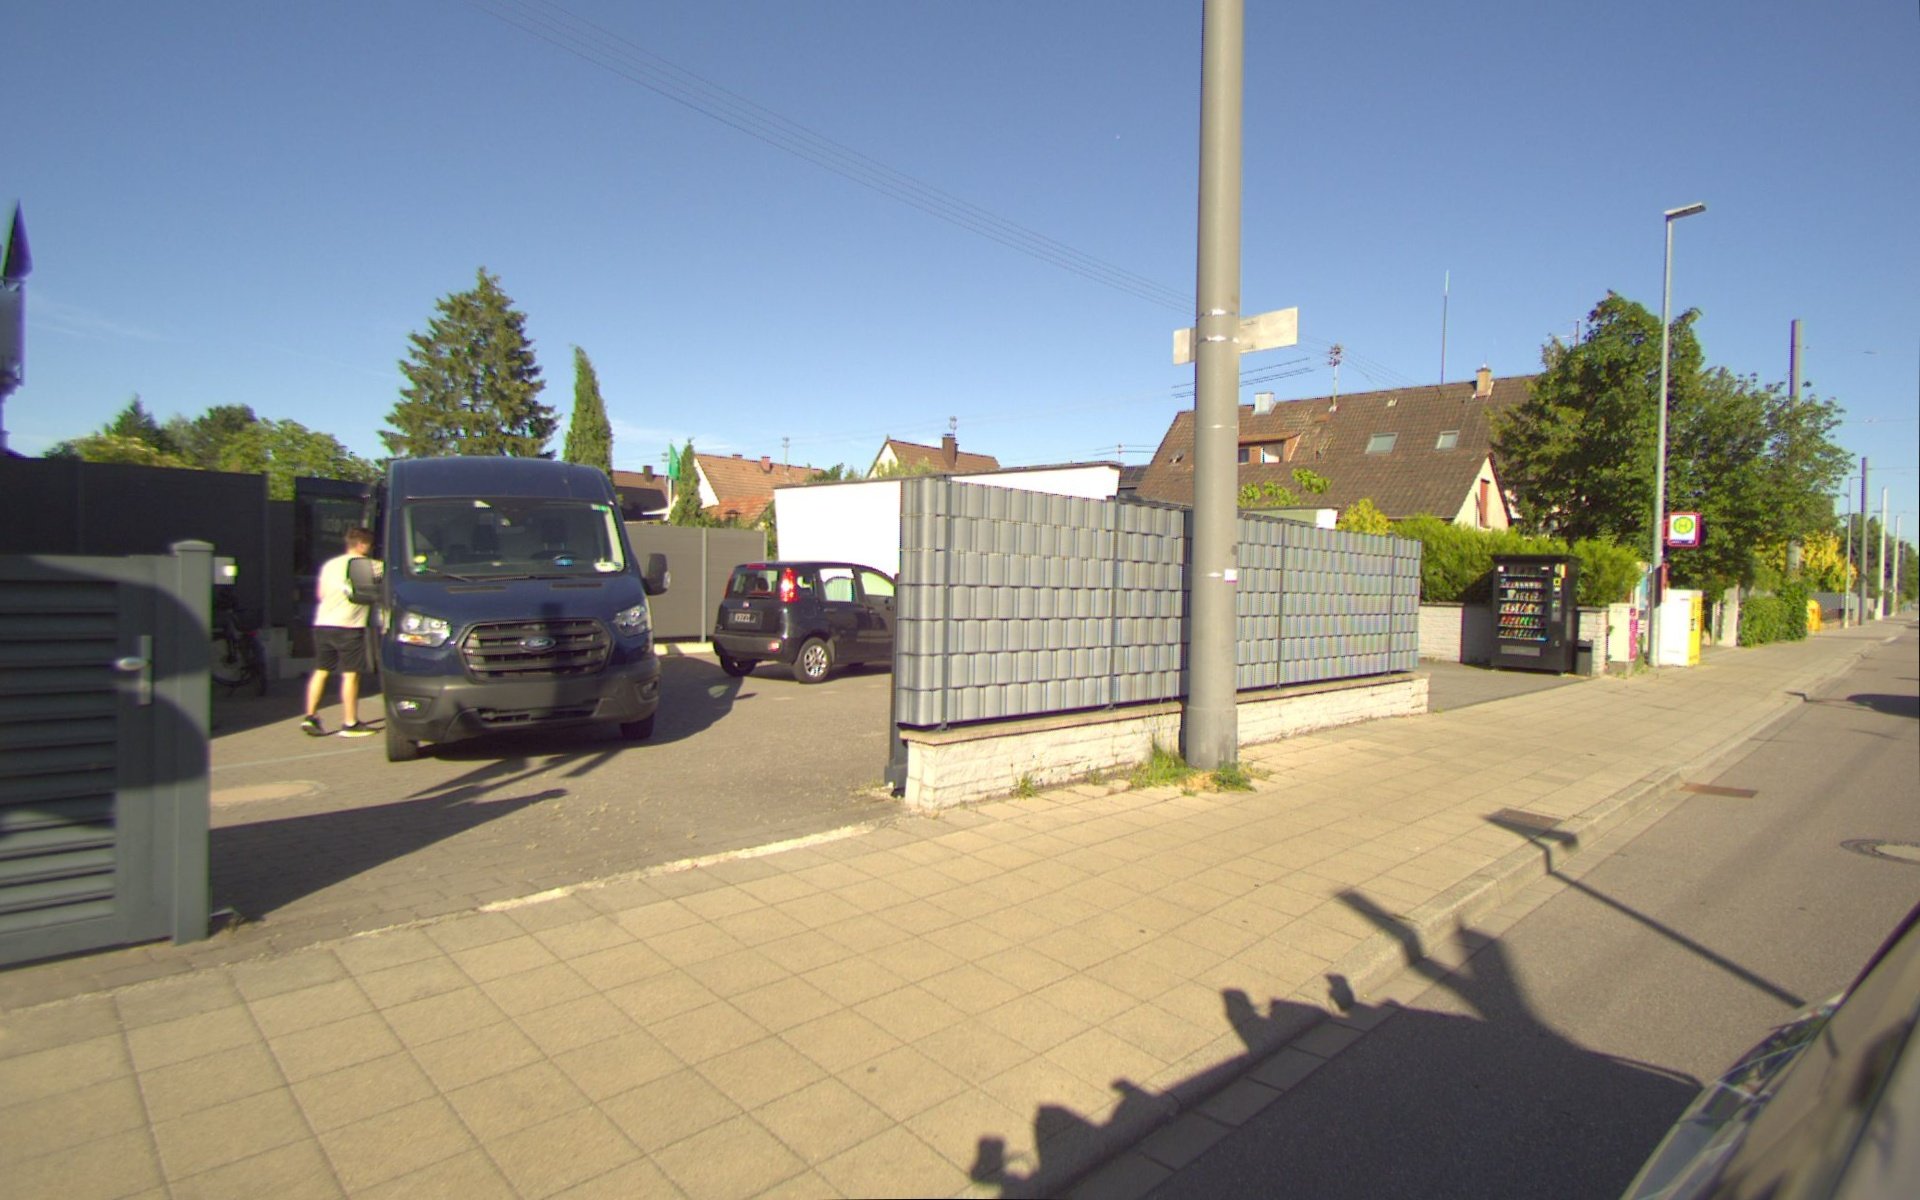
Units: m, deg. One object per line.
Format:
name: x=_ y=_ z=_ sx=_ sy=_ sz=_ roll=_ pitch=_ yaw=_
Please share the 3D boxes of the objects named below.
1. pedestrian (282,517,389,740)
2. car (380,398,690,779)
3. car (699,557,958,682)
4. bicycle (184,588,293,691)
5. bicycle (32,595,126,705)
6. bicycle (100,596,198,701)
pedestrian: x=-5.409 y=0.224 z=8.801 sx=0.662 sy=1.838 sz=0.555 roll=-3 pitch=1 yaw=-27
car: x=-4.111 y=-0.159 z=9.196 sx=1.960 sy=2.461 sz=4.998 roll=-1 pitch=2 yaw=-30
car: x=-1.682 y=0.186 z=13.802 sx=1.552 sy=1.479 sz=3.443 roll=1 pitch=1 yaw=37
bicycle: x=-8.349 y=0.421 z=11.689 sx=1.806 sy=1.110 sz=0.536 roll=0 pitch=0 yaw=38
bicycle: x=-9.265 y=0.489 z=10.624 sx=1.806 sy=1.075 sz=0.407 roll=0 pitch=0 yaw=38
bicycle: x=-8.898 y=0.494 z=11.076 sx=1.806 sy=1.075 sz=0.428 roll=0 pitch=0 yaw=38
